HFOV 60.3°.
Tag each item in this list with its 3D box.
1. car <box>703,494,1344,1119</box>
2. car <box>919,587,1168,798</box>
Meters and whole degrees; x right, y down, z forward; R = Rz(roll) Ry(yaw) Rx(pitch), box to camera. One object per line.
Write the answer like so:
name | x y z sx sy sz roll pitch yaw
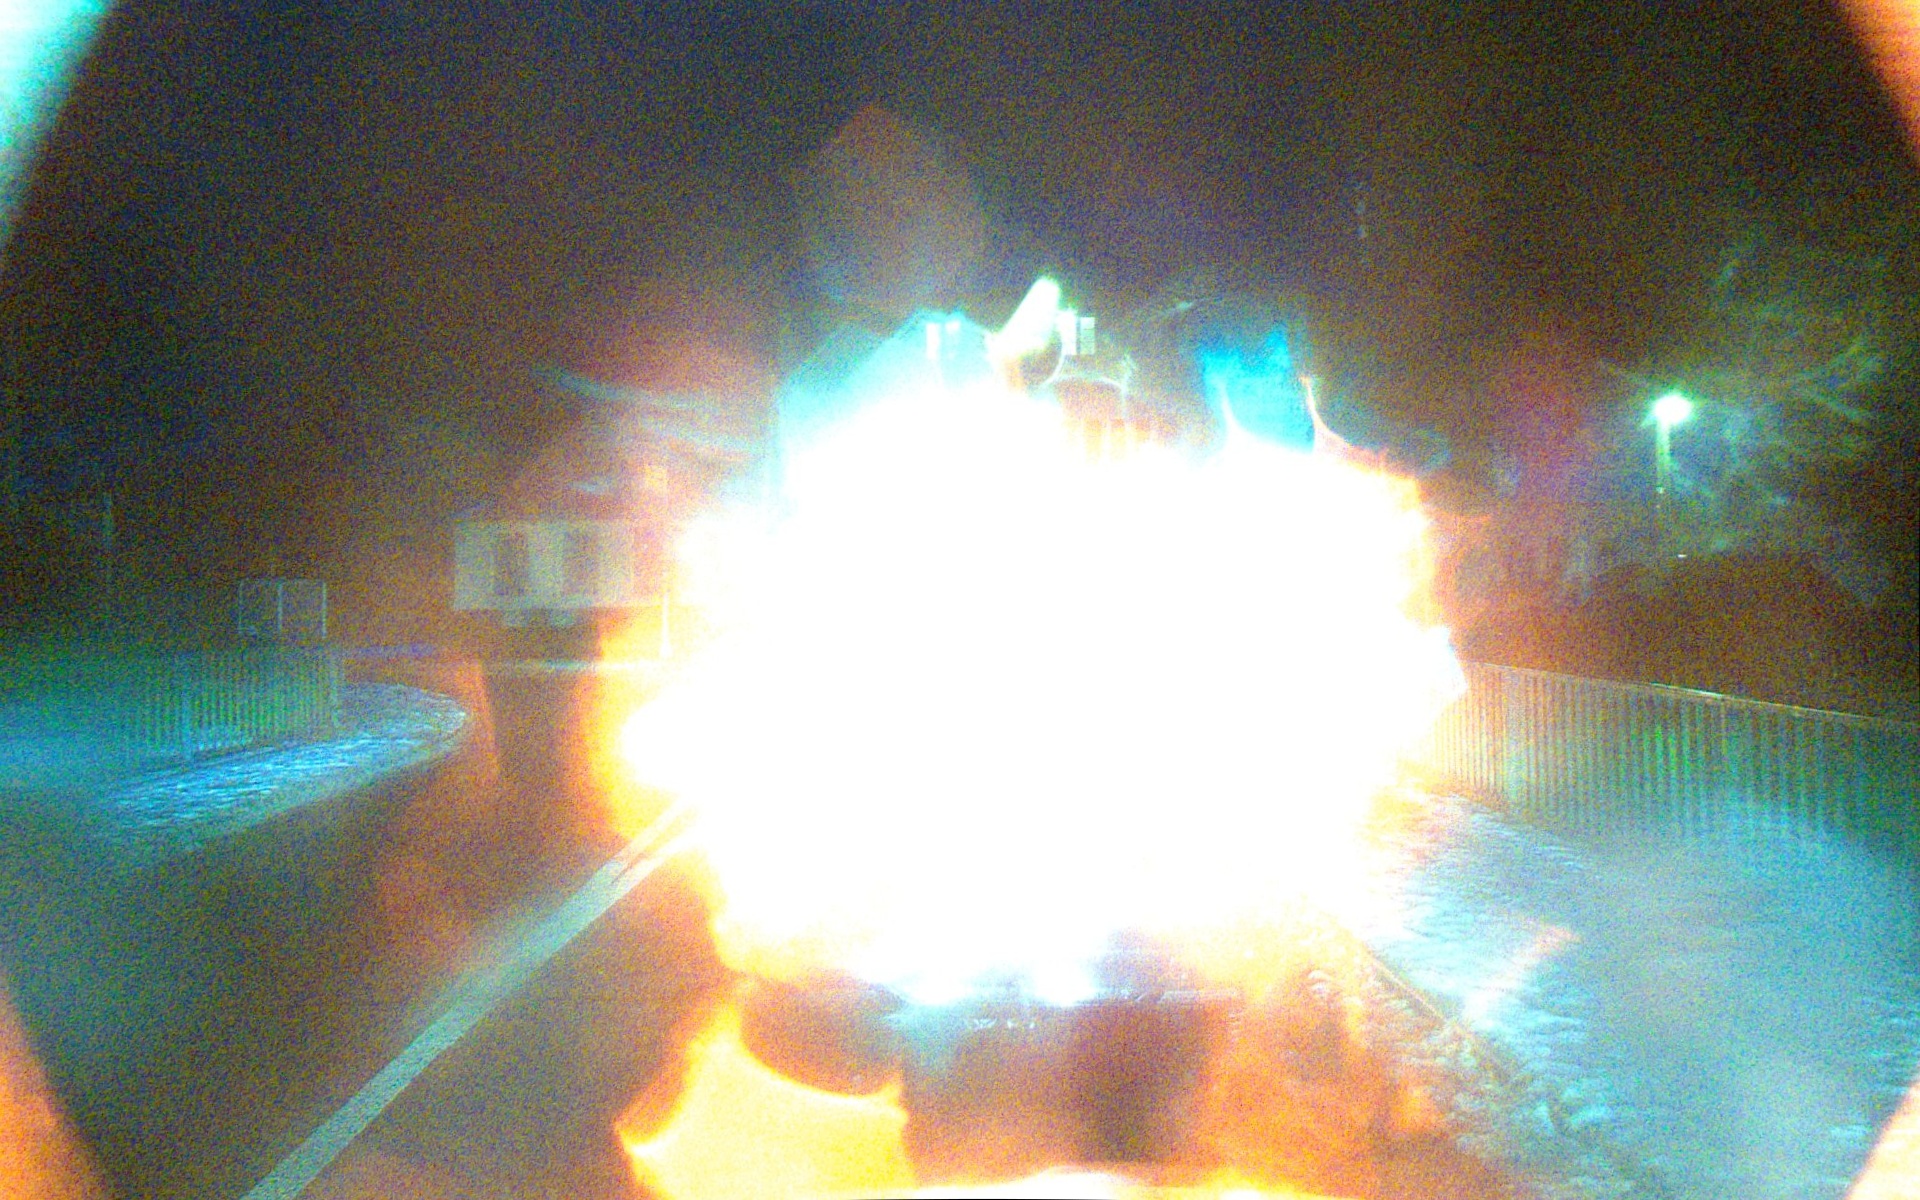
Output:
car | 0.187 0.543 6.482 1.754 1.710 3.905 0 1 0
car | 0.660 0.632 13.436 1.707 1.440 4.001 -1 0 2
